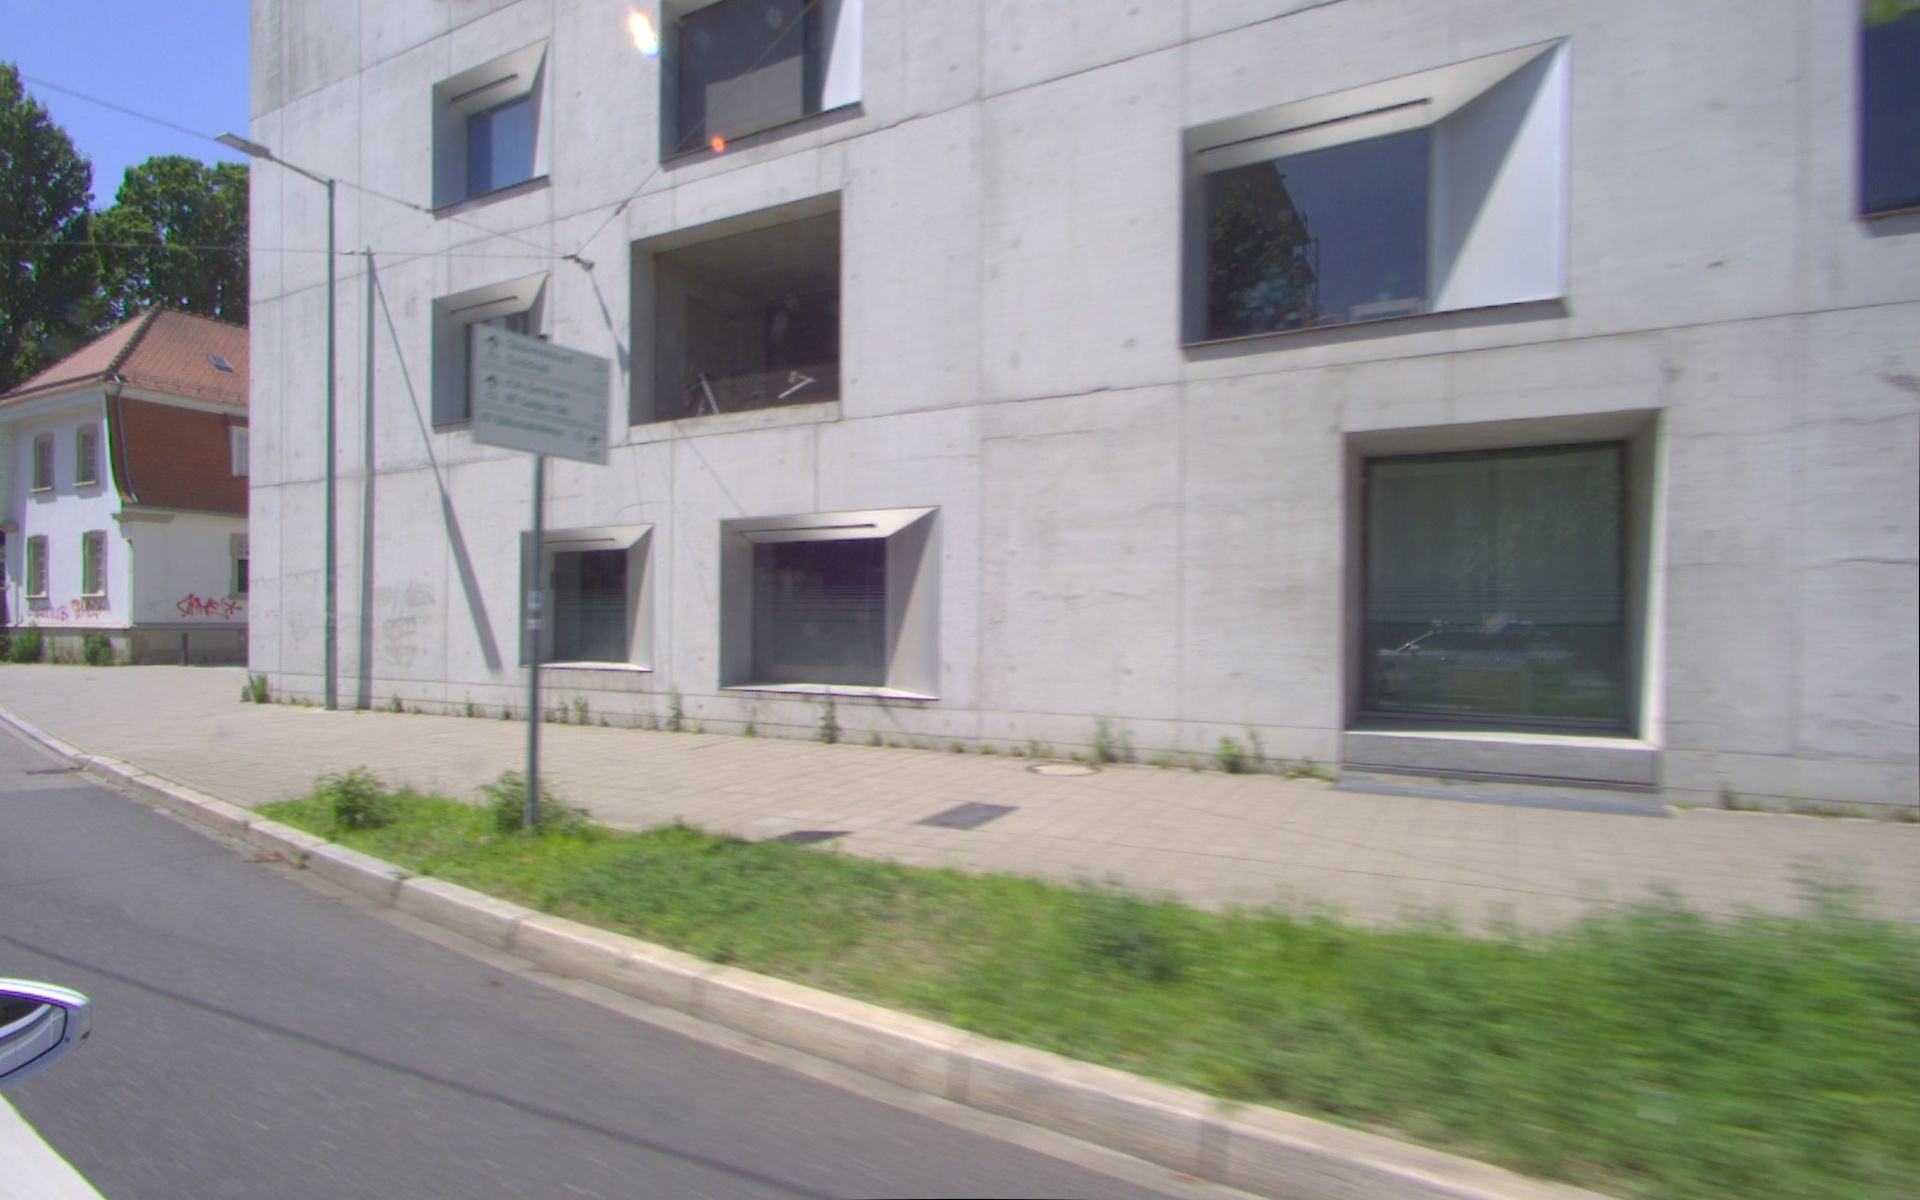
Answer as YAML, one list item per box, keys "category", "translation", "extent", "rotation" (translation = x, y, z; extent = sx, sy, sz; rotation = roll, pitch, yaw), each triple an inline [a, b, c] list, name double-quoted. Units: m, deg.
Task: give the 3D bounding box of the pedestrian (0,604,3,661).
- category: "pedestrian"
  translation: [-29.622, 0.965, 30.422]
  extent: [0.709, 1.797, 0.624]
  rotation: [1, 3, 38]
